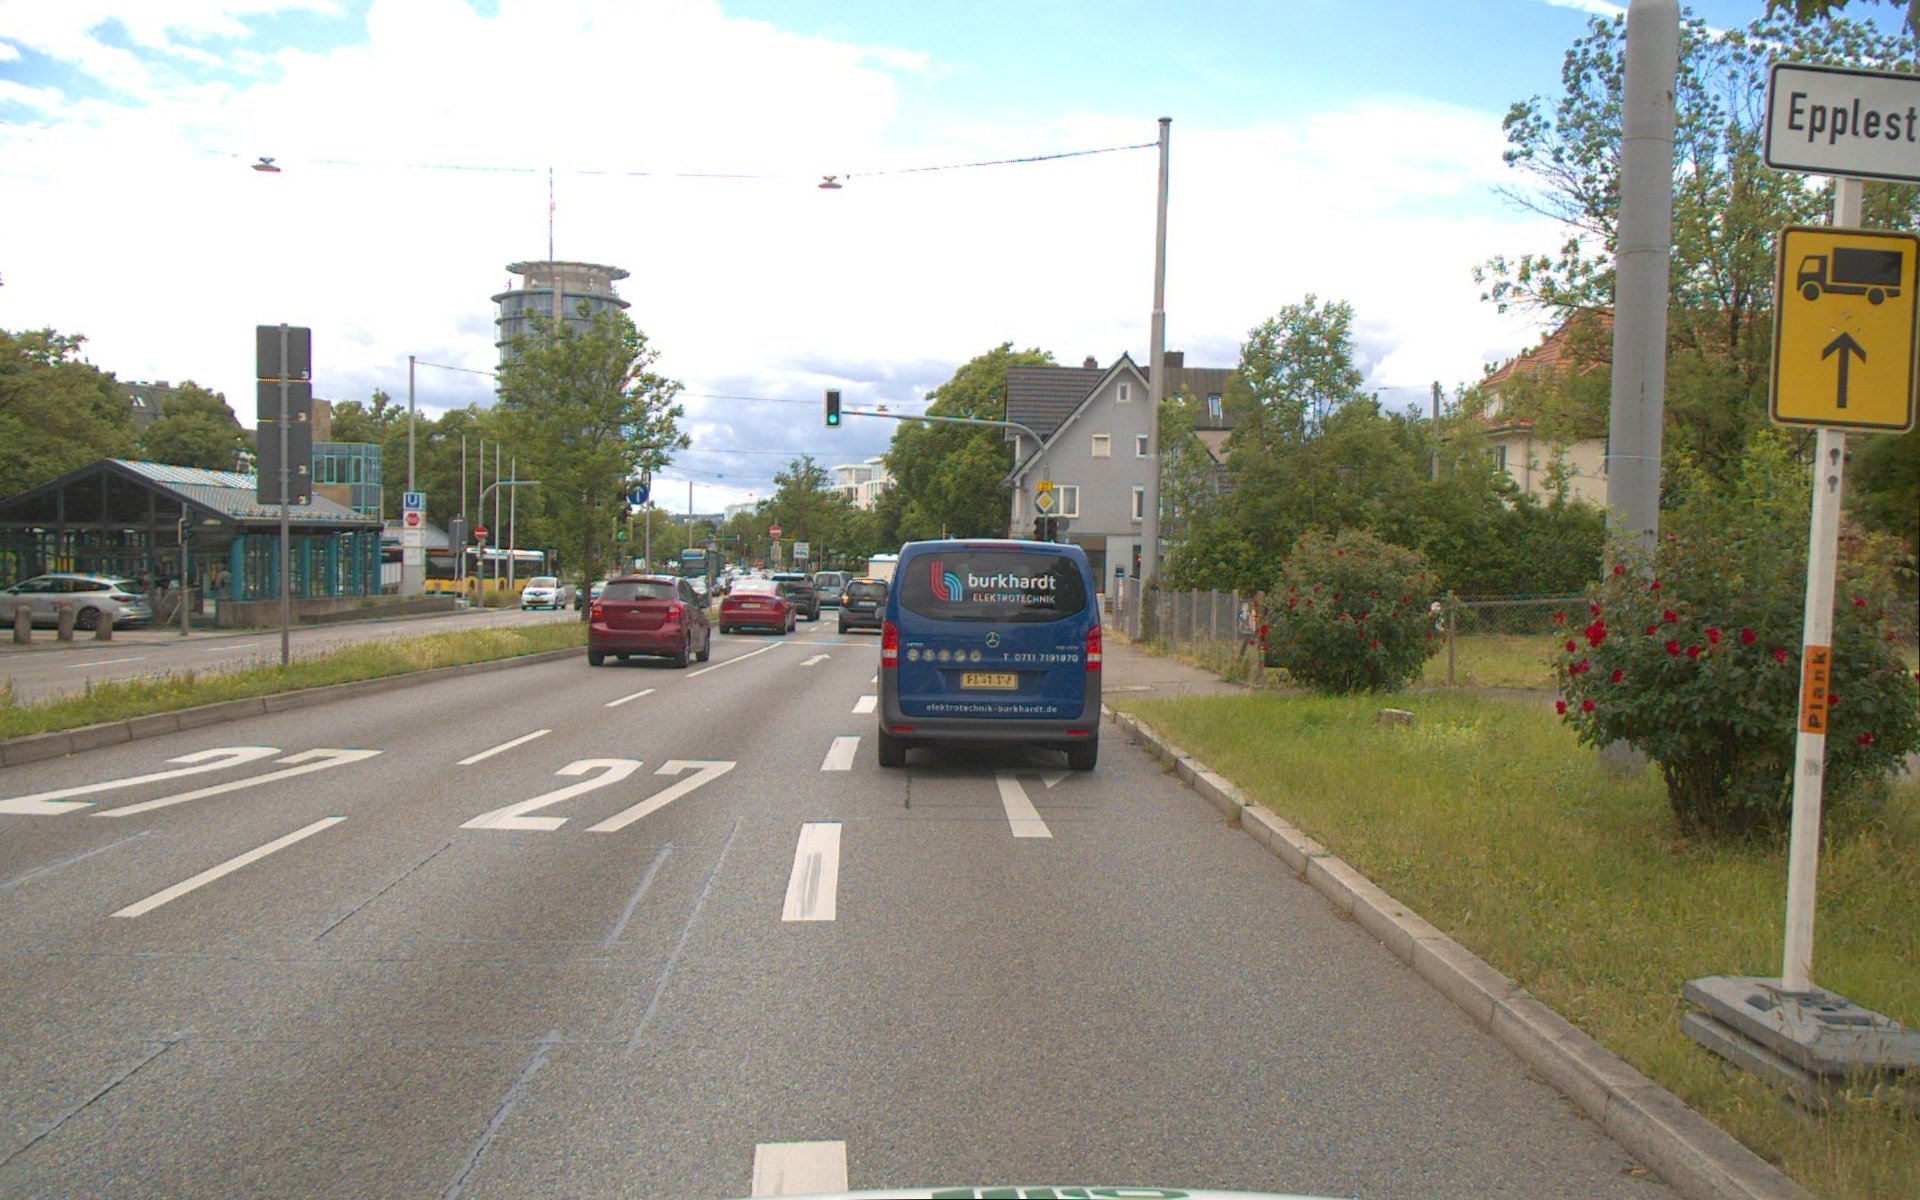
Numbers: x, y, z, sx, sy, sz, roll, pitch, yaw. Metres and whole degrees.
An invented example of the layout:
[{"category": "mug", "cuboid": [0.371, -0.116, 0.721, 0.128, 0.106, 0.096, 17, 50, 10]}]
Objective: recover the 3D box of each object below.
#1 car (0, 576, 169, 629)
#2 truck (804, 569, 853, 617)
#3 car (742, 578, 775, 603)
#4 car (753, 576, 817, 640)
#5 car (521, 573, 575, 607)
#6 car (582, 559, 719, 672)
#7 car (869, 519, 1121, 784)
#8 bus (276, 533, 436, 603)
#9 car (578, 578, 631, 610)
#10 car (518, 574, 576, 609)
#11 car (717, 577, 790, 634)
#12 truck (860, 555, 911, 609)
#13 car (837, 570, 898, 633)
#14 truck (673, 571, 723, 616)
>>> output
[{"category": "car", "cuboid": [-23.730, 0.070, 44.626, 3.918, 1.378, 1.994, 0, 1, -13]}, {"category": "truck", "cuboid": [-6.458, -0.372, 81.954, 1.953, 2.203, 5.558, 3, 0, -1]}, {"category": "car", "cuboid": [-17.043, -0.824, 140.103, 1.951, 2.049, 4.182, 0, 1, 5]}, {"category": "car", "cuboid": [-6.248, 0.248, 58.678, 1.957, 2.048, 3.992, 2, 1, -10]}, {"category": "car", "cuboid": [-19.898, -0.481, 79.960, 1.590, 1.601, 4.000, 0, 0, 0]}, {"category": "car", "cuboid": [-5.330, 0.227, 28.919, 1.711, 1.753, 3.999, 2, 1, -2]}, {"category": "car", "cuboid": [0.262, 0.382, 15.069, 1.908, 2.000, 4.541, 1, 0, 0]}, {"category": "bus", "cuboid": [-30.350, -1.523, 83.903, 2.895, 3.188, 12.166, 2, 0, 4]}, {"category": "car", "cuboid": [-16.806, -0.295, 78.326, 1.778, 1.422, 5.006, -1, 0, -5]}, {"category": "car", "cuboid": [-19.927, -0.432, 79.919, 1.712, 1.543, 4.000, -4, 1, -1]}, {"category": "car", "cuboid": [-5.780, 0.155, 45.925, 1.834, 1.512, 3.991, -1, 0, -10]}, {"category": "truck", "cuboid": [-3.214, -0.796, 72.777, 1.953, 2.203, 5.558, 3, 0, -1]}, {"category": "car", "cuboid": [-2.740, 0.019, 48.718, 1.712, 1.753, 3.997, 0, 1, -4]}, {"category": "truck", "cuboid": [-23.597, -0.602, 149.766, 3.301, 3.792, 11.272, 2, 0, -4]}]
